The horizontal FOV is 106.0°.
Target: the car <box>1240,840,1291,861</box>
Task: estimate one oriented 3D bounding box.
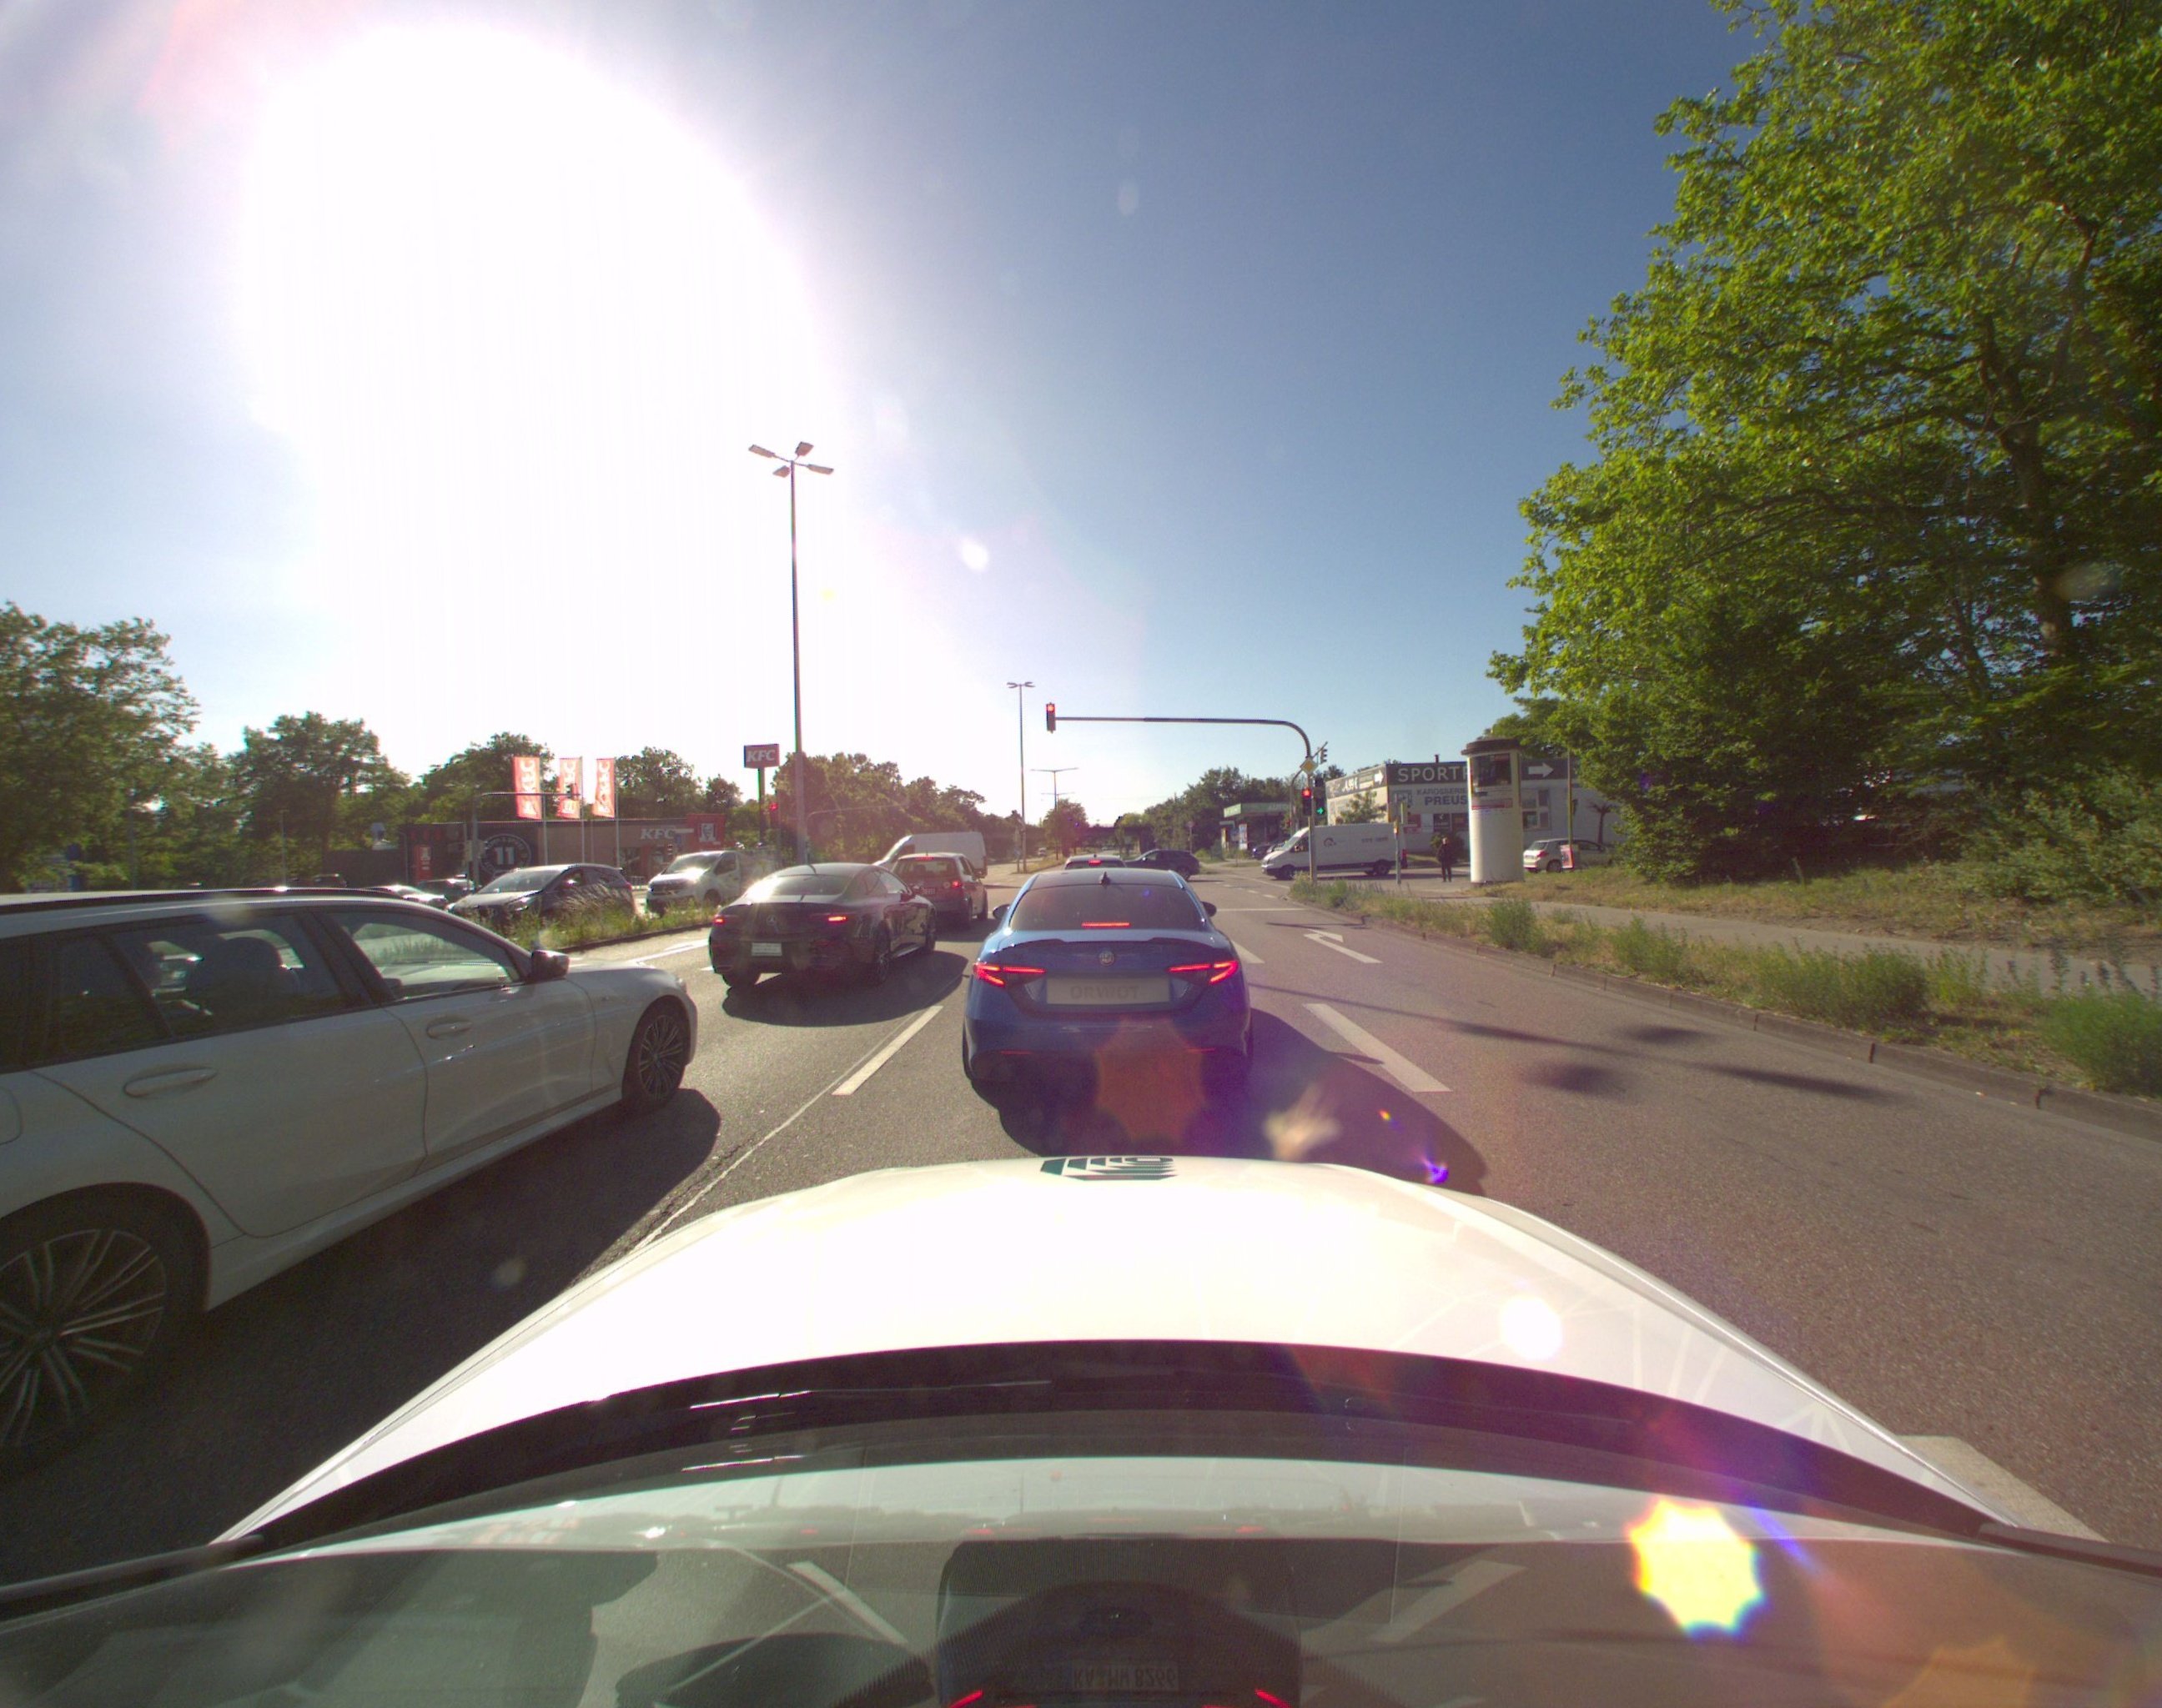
[{"bbox_3d":[16.036,-0.295,70.769,3.997,1.706,1.685,-1,0,-18],"label":"car"}]

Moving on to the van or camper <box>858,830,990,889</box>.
[{"bbox_3d":[-7.592,0.214,39.646,5.969,2.651,1.983,-1,0,-27],"label":"van or camper"}]

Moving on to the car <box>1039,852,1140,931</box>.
[{"bbox_3d":[0.226,0.696,17.206,1.859,1.450,3.933,-1,0,2],"label":"car"}]

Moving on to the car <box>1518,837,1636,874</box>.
[{"bbox_3d":[21.111,0.057,34.791,3.963,1.477,1.741,-1,0,1],"label":"car"}]

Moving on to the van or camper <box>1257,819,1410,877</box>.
[{"bbox_3d":[12.121,-0.275,39.450,6.708,2.572,2.185,-1,0,1],"label":"van or camper"}]

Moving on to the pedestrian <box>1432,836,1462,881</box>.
[{"bbox_3d":[14.187,0.180,31.605,0.818,1.721,0.856,-2,0,9],"label":"pedestrian"}]

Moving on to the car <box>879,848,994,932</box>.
[{"bbox_3d":[-3.026,0.694,17.795,1.642,1.598,3.933,-1,0,2],"label":"car"}]

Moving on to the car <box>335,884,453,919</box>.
[{"bbox_3d":[-32.132,2.225,38.180,4.019,1.429,1.826,-1,0,3],"label":"car"}]

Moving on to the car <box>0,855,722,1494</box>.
[{"bbox_3d":[-3.435,0.793,3.370,1.762,1.509,4.463,-1,0,2],"label":"car"}]

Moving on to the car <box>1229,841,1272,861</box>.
[{"bbox_3d":[15.379,-0.259,73.978,3.489,1.706,1.687,-1,0,-14],"label":"car"}]

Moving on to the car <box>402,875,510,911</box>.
[{"bbox_3d":[-31.927,1.976,41.702,4.025,1.595,1.824,-1,0,-1],"label":"car"}]

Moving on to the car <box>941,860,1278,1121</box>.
[{"bbox_3d":[0.221,0.783,6.514,1.859,1.385,3.933,-1,0,2],"label":"car"}]

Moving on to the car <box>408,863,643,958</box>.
[{"bbox_3d":[-11.671,1.092,17.575,1.872,1.690,4.438,-2,0,2],"label":"car"}]

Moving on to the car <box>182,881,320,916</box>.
[{"bbox_3d":[-39.253,2.070,38.588,4.701,1.429,1.865,-1,1,2],"label":"car"}]

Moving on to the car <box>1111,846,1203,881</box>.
[{"bbox_3d":[3.899,0.474,42.189,4.583,1.653,2.000,-1,0,0],"label":"car"}]

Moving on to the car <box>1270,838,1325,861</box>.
[{"bbox_3d":[17.506,-0.364,65.875,3.993,1.706,1.687,-1,0,-15],"label":"car"}]

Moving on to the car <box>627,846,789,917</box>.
[{"bbox_3d":[-11.751,0.792,26.133,1.980,2.013,5.044,-1,0,13],"label":"car"}]

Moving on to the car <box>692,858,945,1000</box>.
[{"bbox_3d":[-3.148,0.807,10.843,1.762,1.414,4.463,-1,0,2],"label":"car"}]

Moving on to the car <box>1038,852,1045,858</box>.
[{"bbox_3d":[-10.569,0.260,218.176,1.817,1.694,3.835,-1,0,-1],"label":"car"}]
